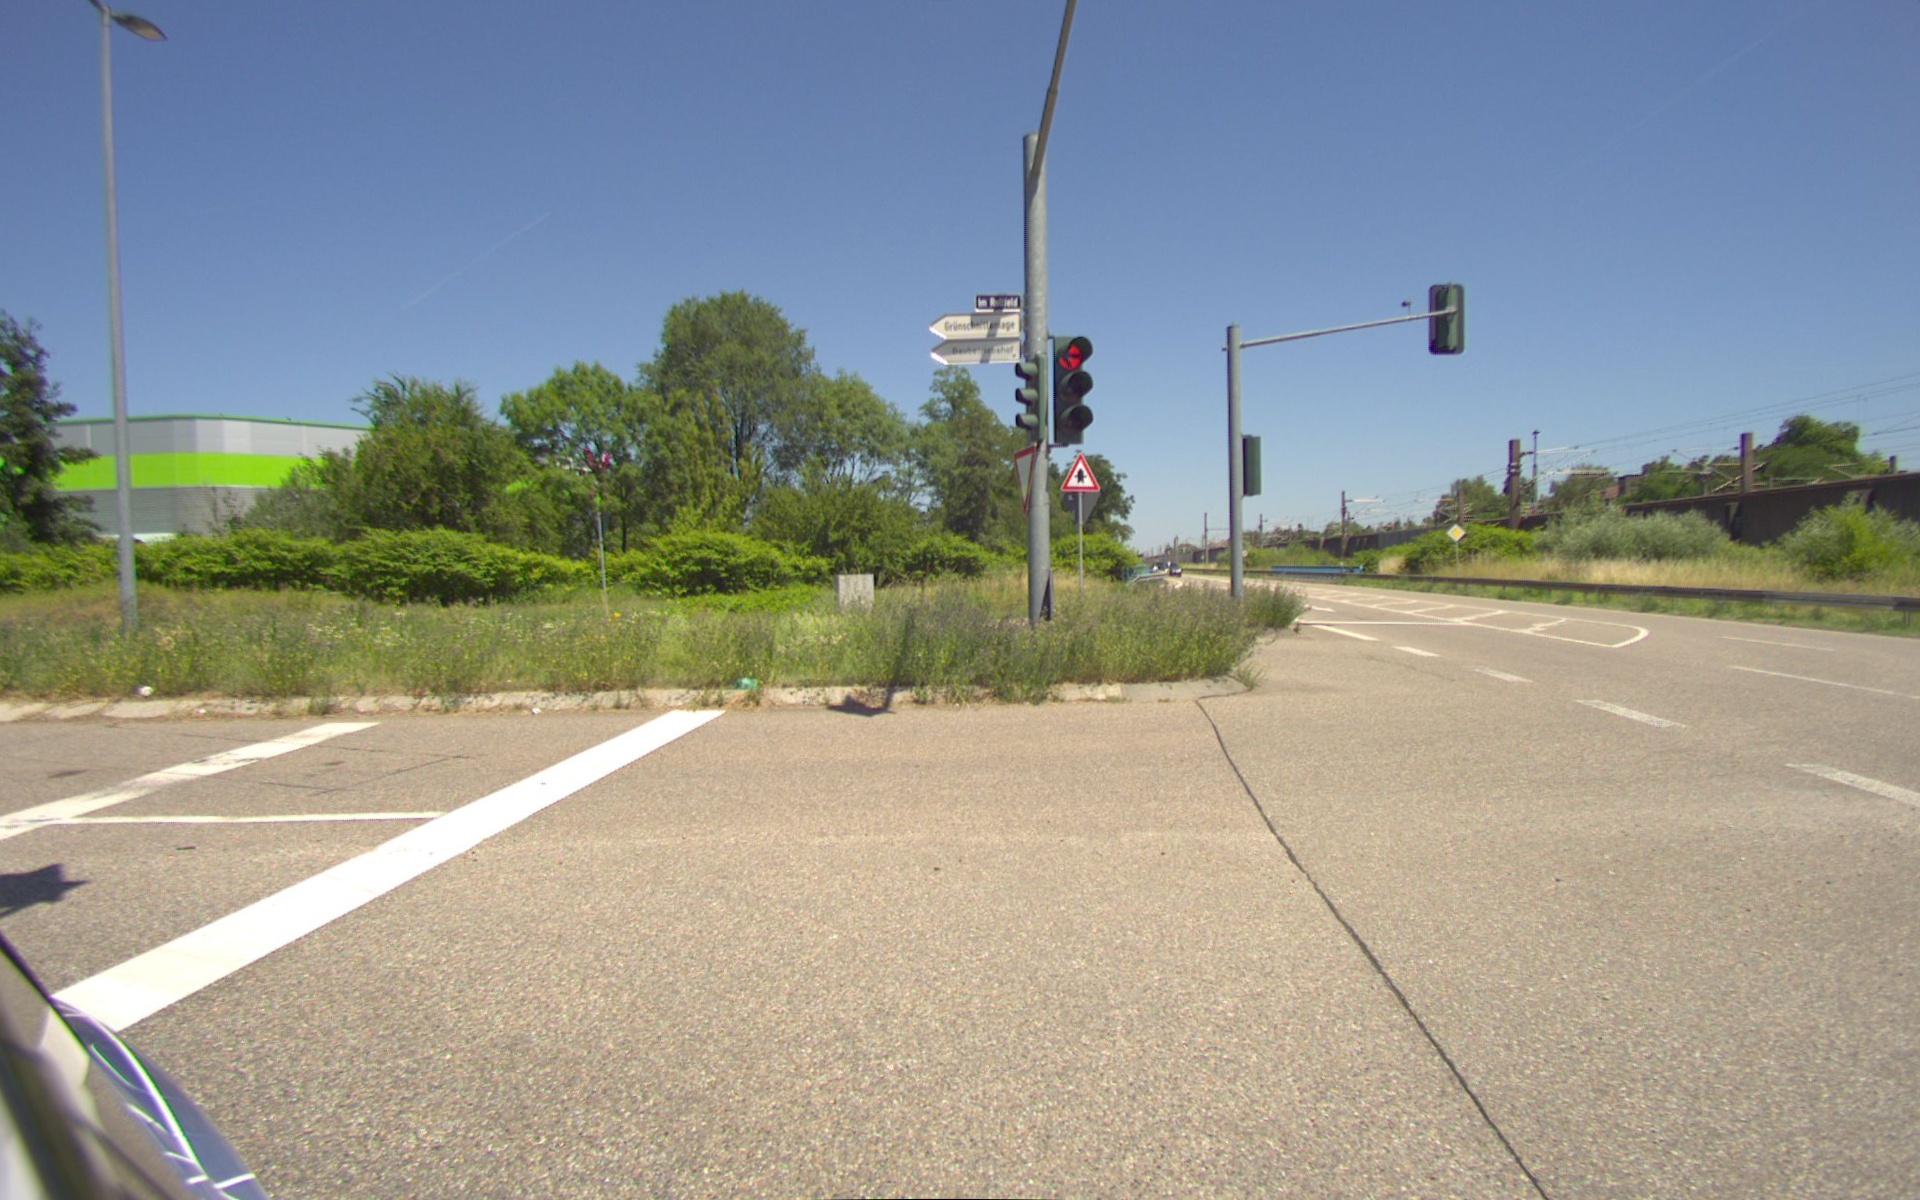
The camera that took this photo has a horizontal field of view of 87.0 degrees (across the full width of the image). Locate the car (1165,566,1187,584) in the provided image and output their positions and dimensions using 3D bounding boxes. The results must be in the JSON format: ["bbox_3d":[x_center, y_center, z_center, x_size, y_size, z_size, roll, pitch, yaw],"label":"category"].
[{"bbox_3d":[21.285,-2.468,100.044,1.978,1.740,3.988,0,2,10],"label":"car"}]
